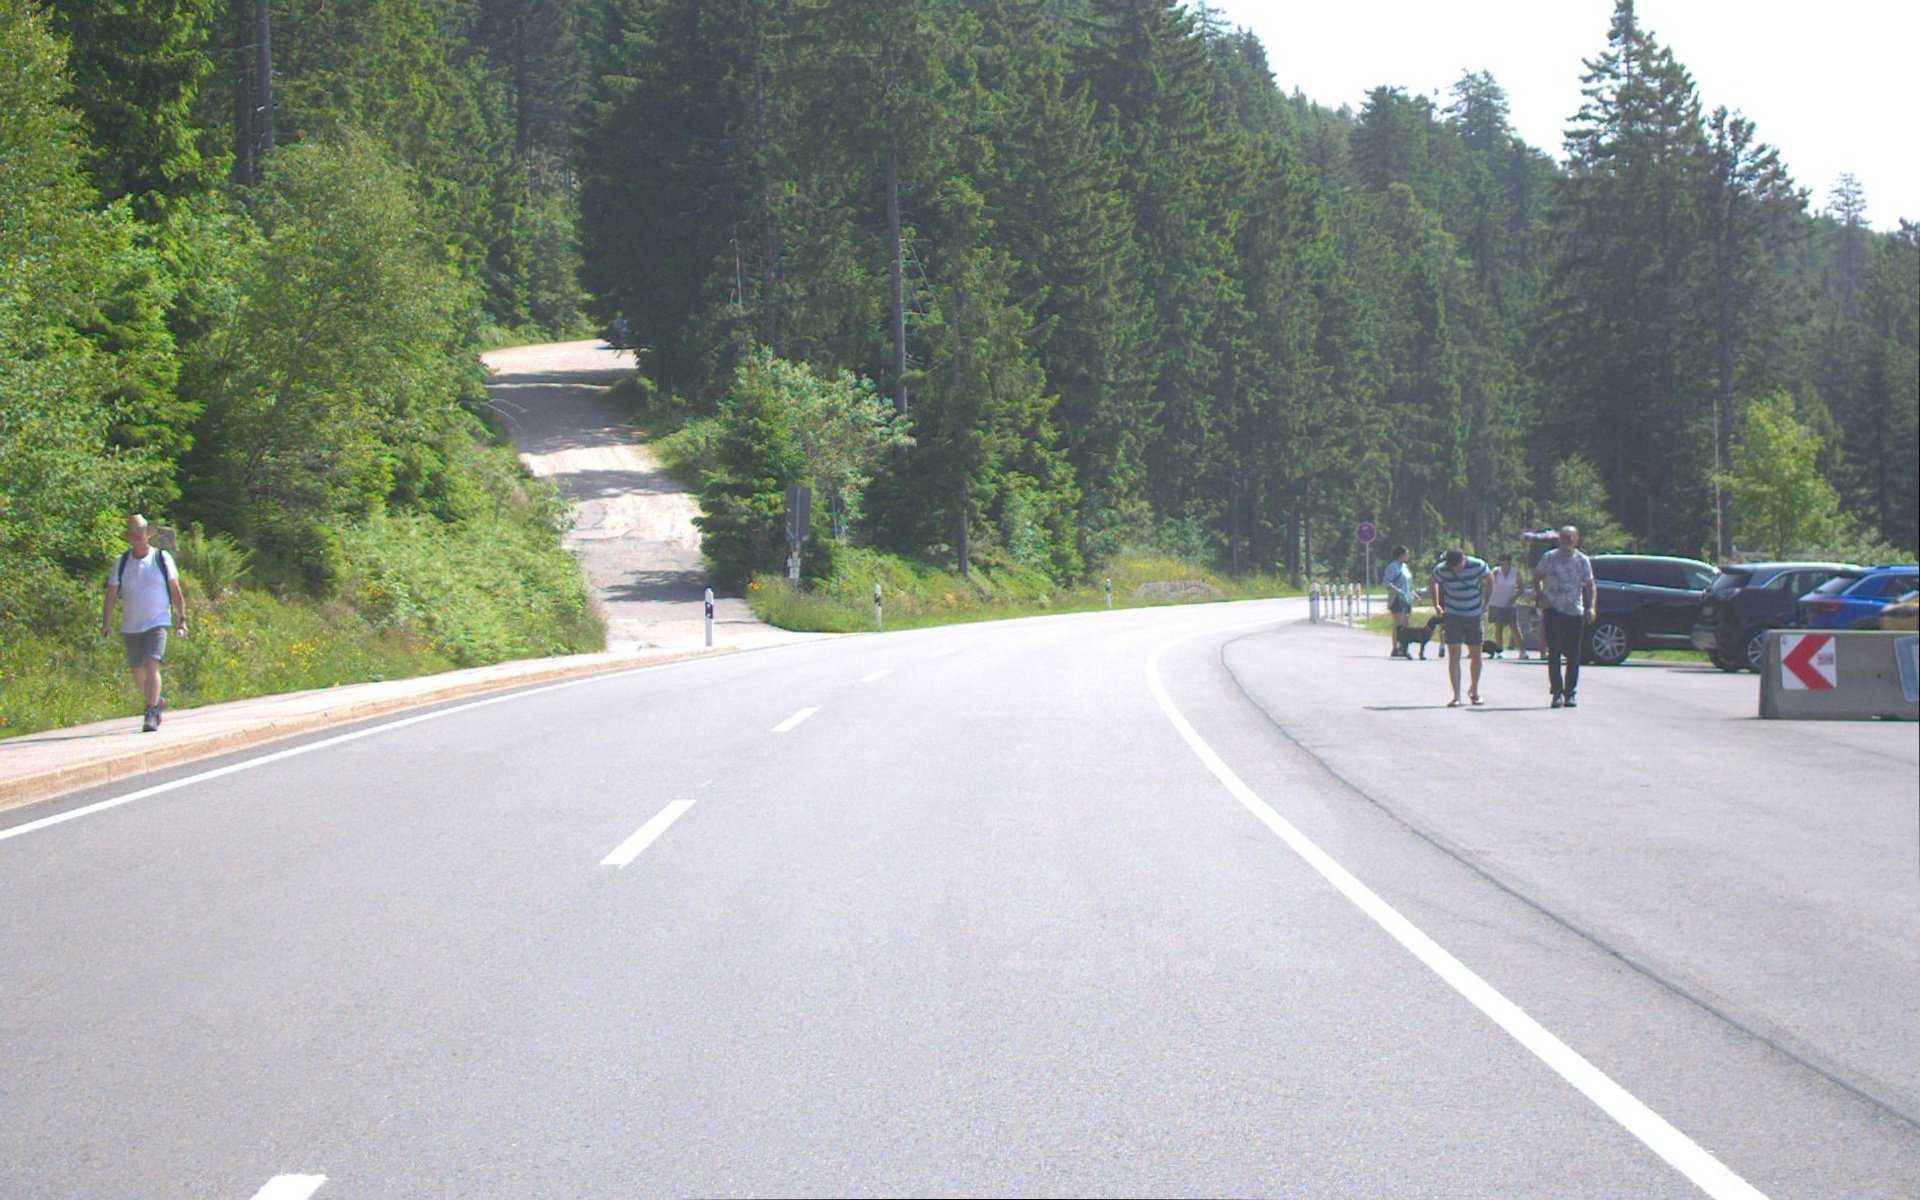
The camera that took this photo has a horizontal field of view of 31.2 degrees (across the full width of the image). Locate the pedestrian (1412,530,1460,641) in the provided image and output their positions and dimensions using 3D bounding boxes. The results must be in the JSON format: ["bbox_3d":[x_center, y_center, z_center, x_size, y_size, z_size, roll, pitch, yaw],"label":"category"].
[{"bbox_3d":[7.320,-0.225,52.880,0.716,1.686,0.619,0,1,8],"label":"pedestrian"}]

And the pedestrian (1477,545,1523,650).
[{"bbox_3d":[8.718,-0.041,55.454,0.653,1.654,0.687,-1,2,14],"label":"pedestrian"}]

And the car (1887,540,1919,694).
[{"bbox_3d":[12.195,0.253,36.859,3.986,1.641,1.600,2,1,-3],"label":"car"}]

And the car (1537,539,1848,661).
[{"bbox_3d":[11.057,-0.001,52.069,4.263,1.788,1.892,0,0,-2],"label":"car"}]

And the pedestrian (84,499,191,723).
[{"bbox_3d":[-6.473,0.080,27.090,0.682,1.740,0.825,0,1,-3],"label":"pedestrian"}]

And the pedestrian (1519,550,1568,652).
[{"bbox_3d":[9.264,0.015,54.594,0.617,1.582,0.735,0,2,20],"label":"pedestrian"}]

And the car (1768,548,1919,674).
[{"bbox_3d":[13.007,0.140,45.766,3.986,1.530,1.807,0,4,-3],"label":"car"}]

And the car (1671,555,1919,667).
[{"bbox_3d":[12.225,0.151,49.074,3.751,1.562,1.600,0,1,-5],"label":"car"}]

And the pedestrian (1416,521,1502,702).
[{"bbox_3d":[4.906,0.102,33.771,0.754,1.754,0.775,0,1,14],"label":"pedestrian"}]

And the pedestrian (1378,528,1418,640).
[{"bbox_3d":[6.949,-0.254,54.500,0.617,1.769,0.723,0,1,8],"label":"pedestrian"}]

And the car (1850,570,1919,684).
[{"bbox_3d":[13.126,0.327,41.966,3.987,1.348,1.987,0,1,0],"label":"car"}]

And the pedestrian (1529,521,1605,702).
[{"bbox_3d":[5.918,0.098,33.510,0.665,1.735,0.894,0,1,14],"label":"pedestrian"}]
